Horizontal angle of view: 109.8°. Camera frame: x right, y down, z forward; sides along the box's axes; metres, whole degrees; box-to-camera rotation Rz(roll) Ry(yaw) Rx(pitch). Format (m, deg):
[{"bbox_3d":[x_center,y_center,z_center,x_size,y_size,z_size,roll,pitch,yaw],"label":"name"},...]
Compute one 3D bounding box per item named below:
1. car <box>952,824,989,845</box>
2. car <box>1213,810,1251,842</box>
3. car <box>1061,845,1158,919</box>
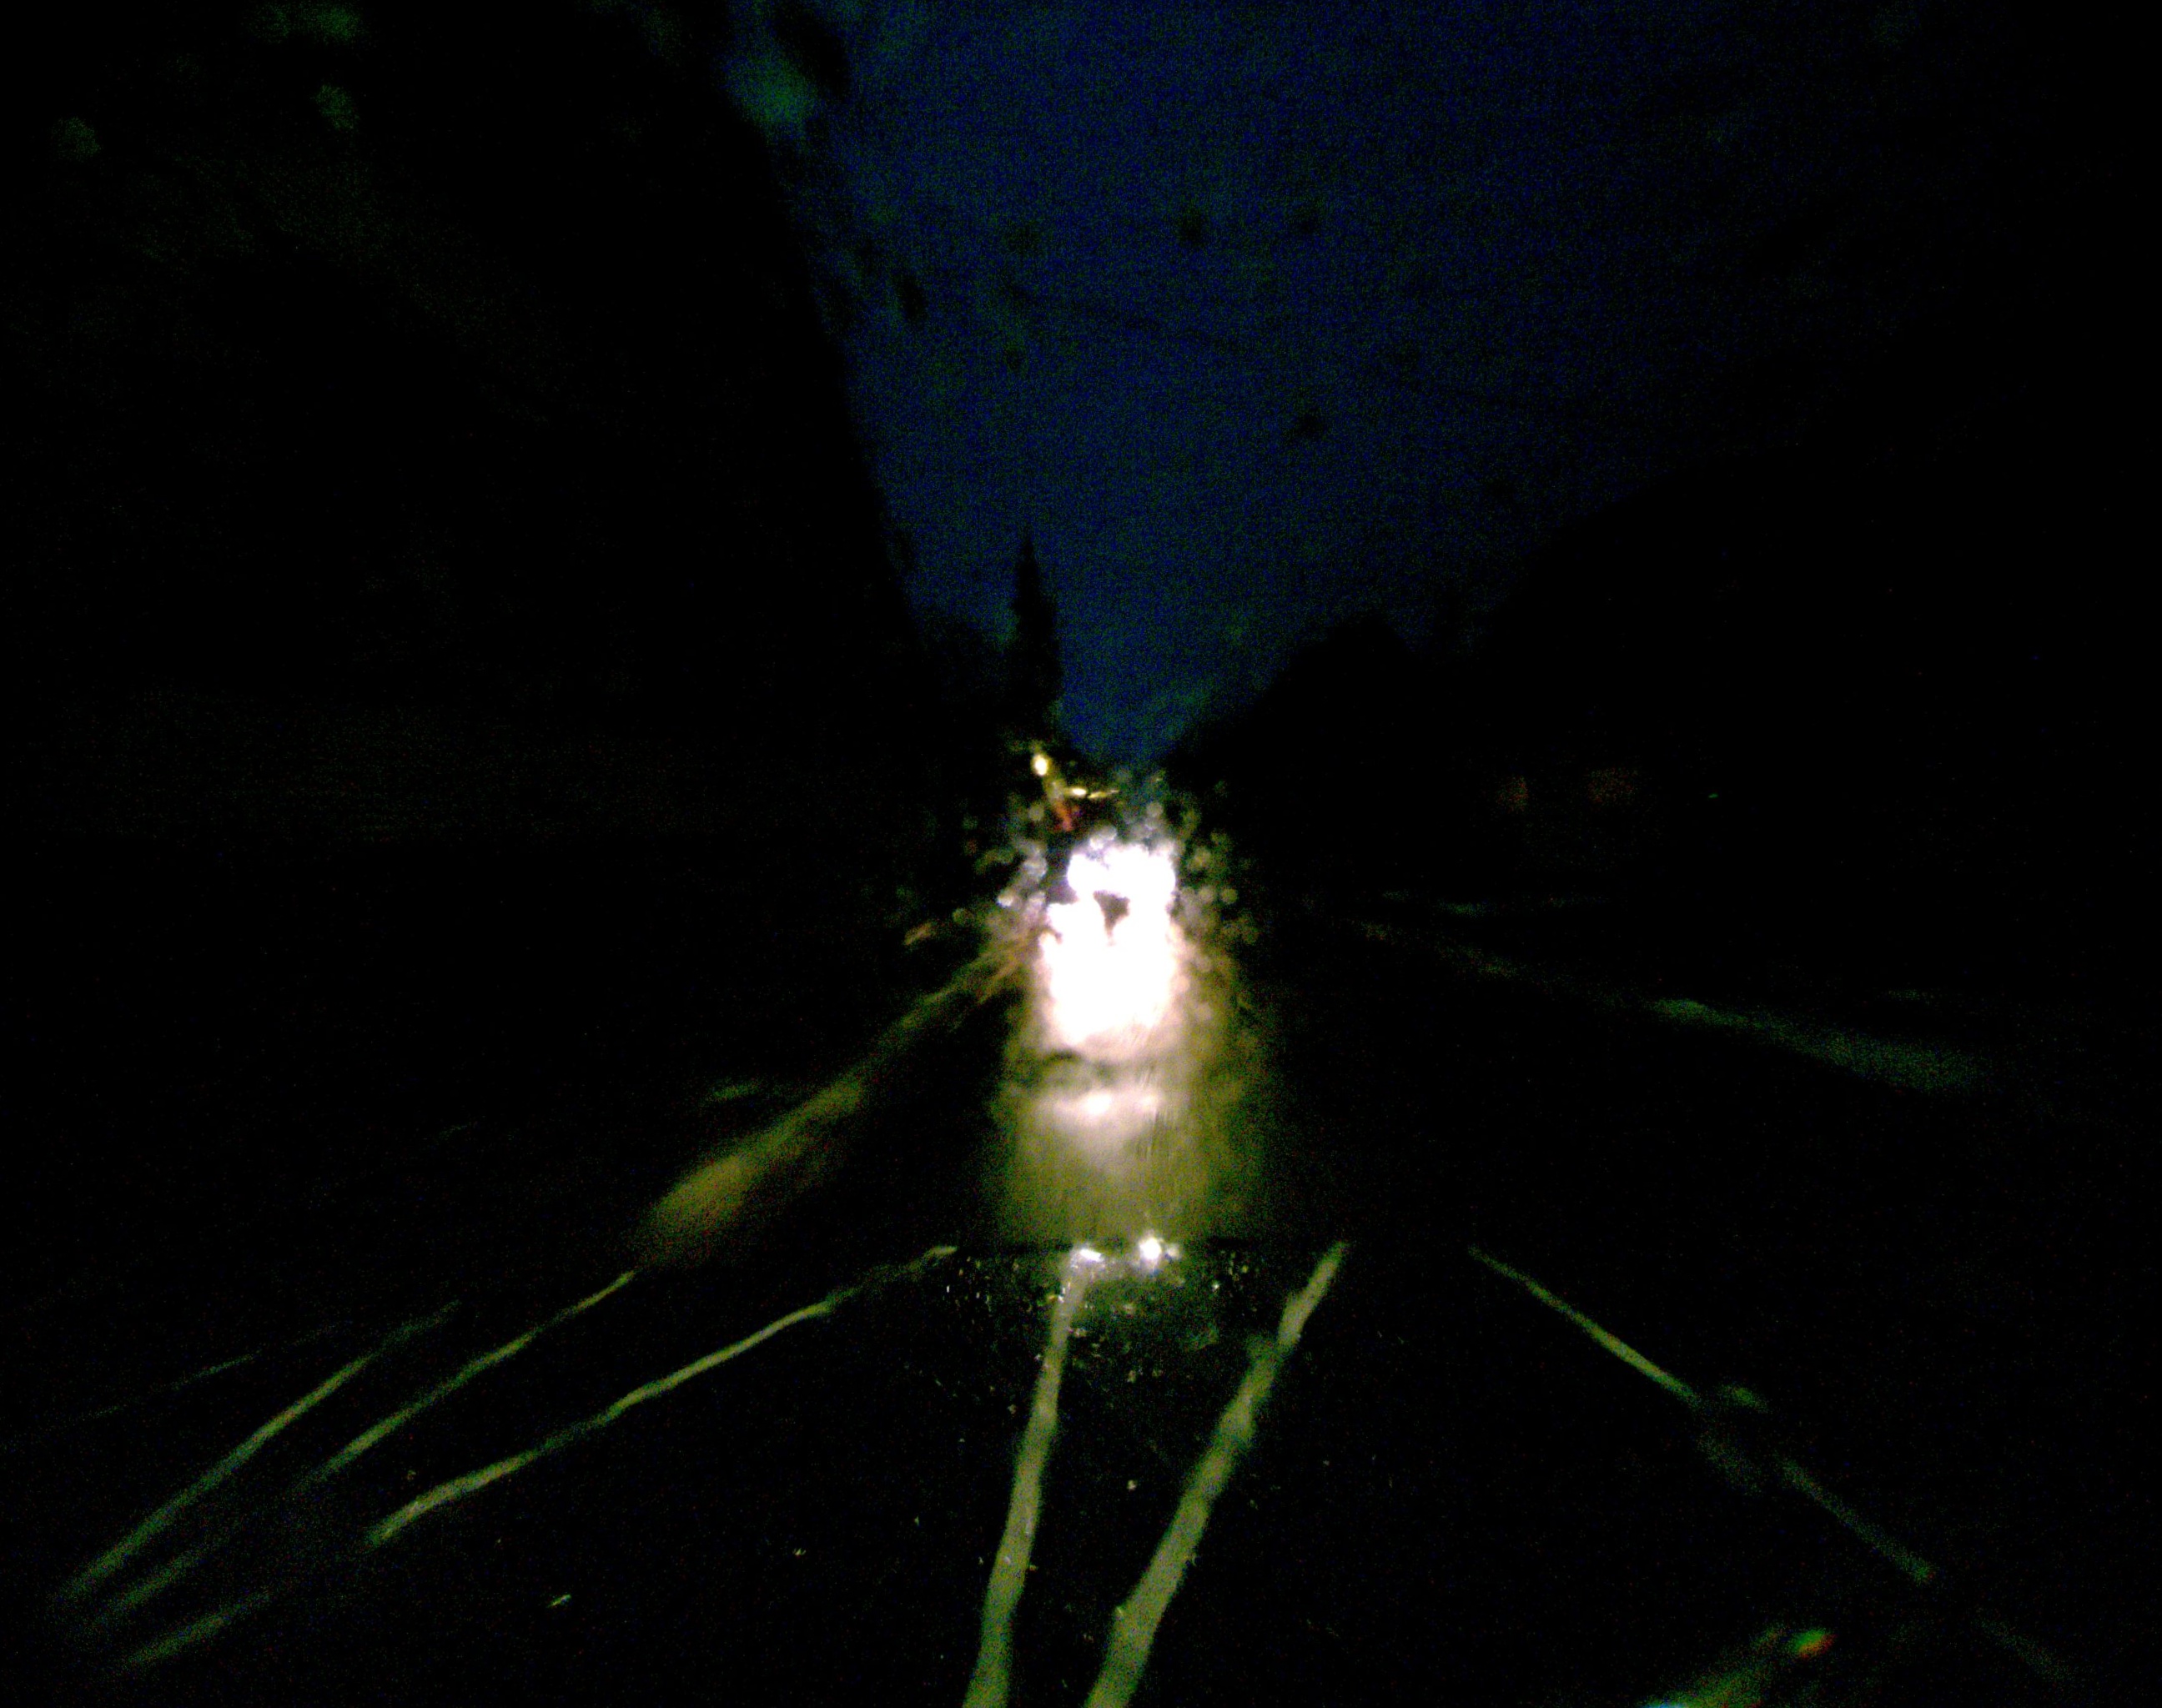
[{"bbox_3d":[-8.559,-1.529,58.615,1.758,1.405,4.070,-3,5,-25],"label":"car"},{"bbox_3d":[10.867,-2.042,55.033,1.998,2.026,4.080,-6,3,4],"label":"car"},{"bbox_3d":[0.603,0.557,18.235,1.998,1.374,4.932,-1,2,0],"label":"car"}]
